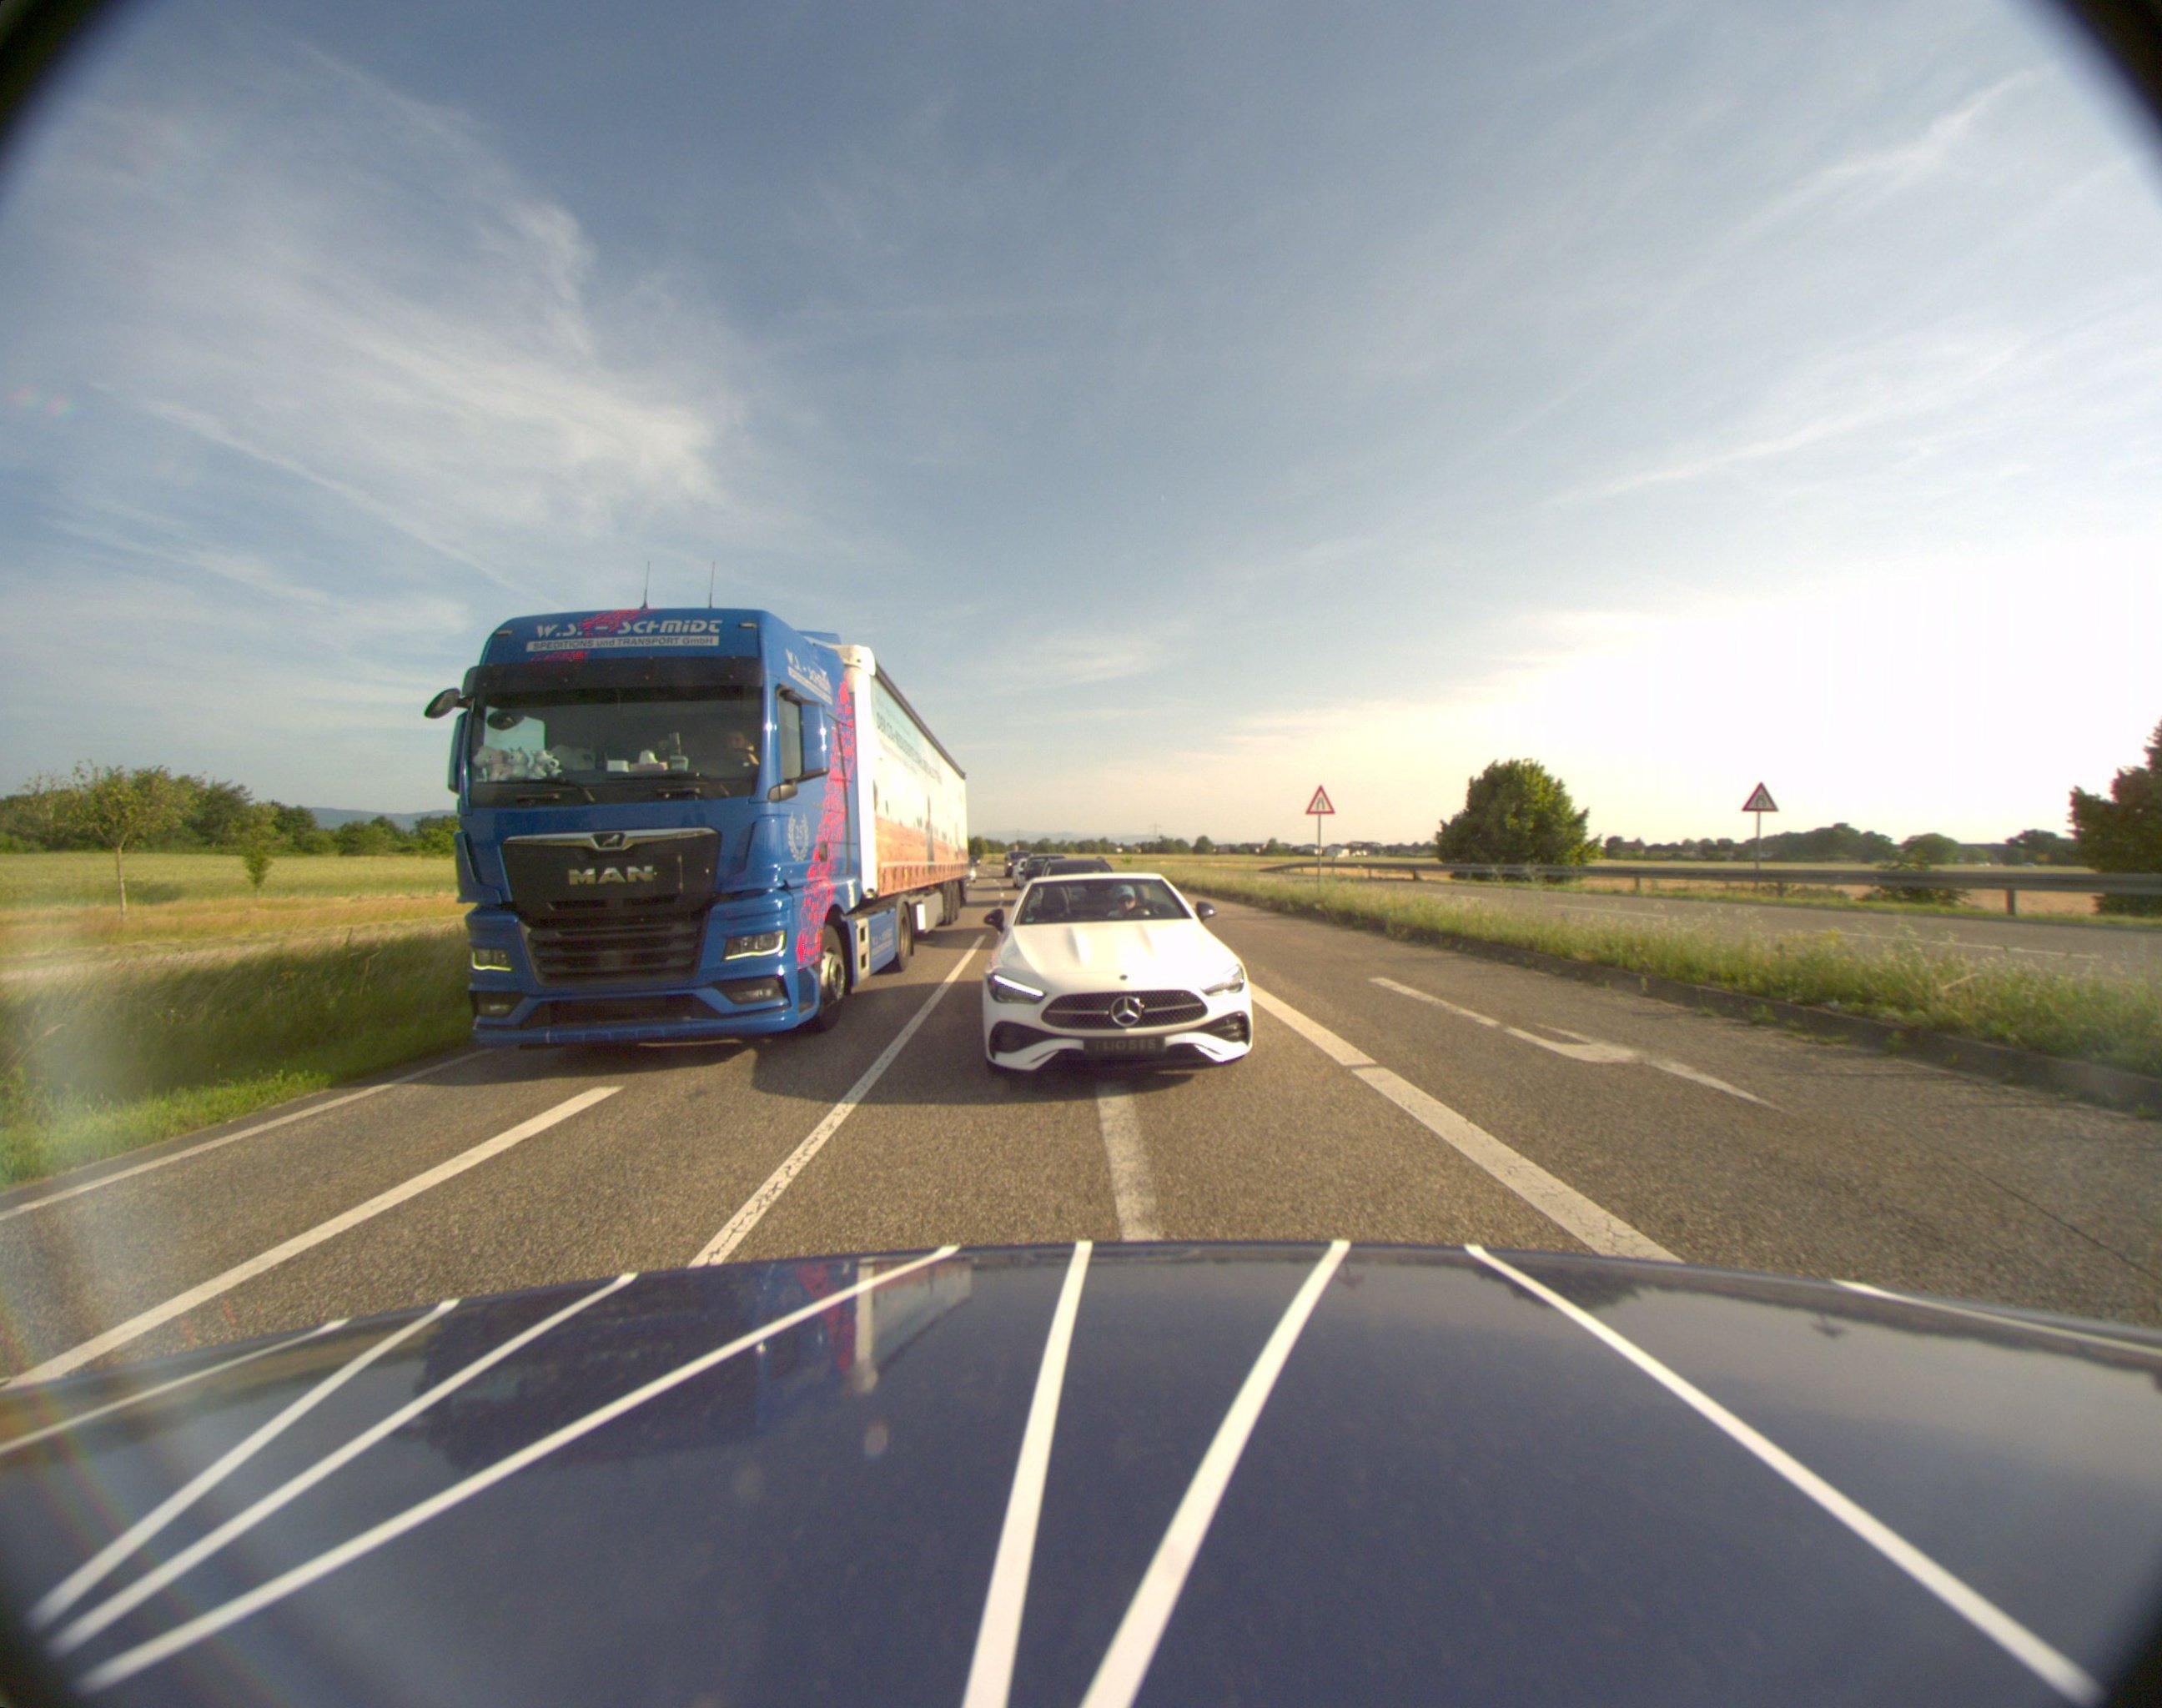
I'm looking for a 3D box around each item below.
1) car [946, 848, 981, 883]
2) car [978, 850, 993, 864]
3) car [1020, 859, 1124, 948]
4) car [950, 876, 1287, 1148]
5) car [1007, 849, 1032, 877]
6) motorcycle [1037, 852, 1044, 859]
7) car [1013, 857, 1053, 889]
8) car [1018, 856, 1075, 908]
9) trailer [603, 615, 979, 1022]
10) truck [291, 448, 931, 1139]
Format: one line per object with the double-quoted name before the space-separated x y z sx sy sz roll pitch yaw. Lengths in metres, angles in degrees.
"car" -7.241 0.664 47.080 2.000 2.002 3.997 -1 0 -8
"car" -13.387 0.412 106.324 2.000 2.002 3.997 -1 0 -8
"car" -0.301 0.880 15.198 1.586 1.496 3.658 -1 0 -8
"car" 0.173 0.981 6.435 1.941 1.389 3.917 -2 1 -2
"car" -4.431 0.589 54.458 1.558 1.909 4.032 -1 0 -8
"motorcycle" -6.436 0.236 119.700 0.940 1.118 2.169 -2 0 -5
"car" -2.348 0.860 36.309 1.558 1.392 4.032 -1 0 -8
"car" -1.190 0.870 25.033 1.558 1.550 3.046 -1 0 -8
"trailer" -4.223 -0.528 15.432 3.291 4.654 13.139 -2 1 -4
"truck" -3.717 -0.461 8.072 3.309 4.631 5.729 -2 1 -4
